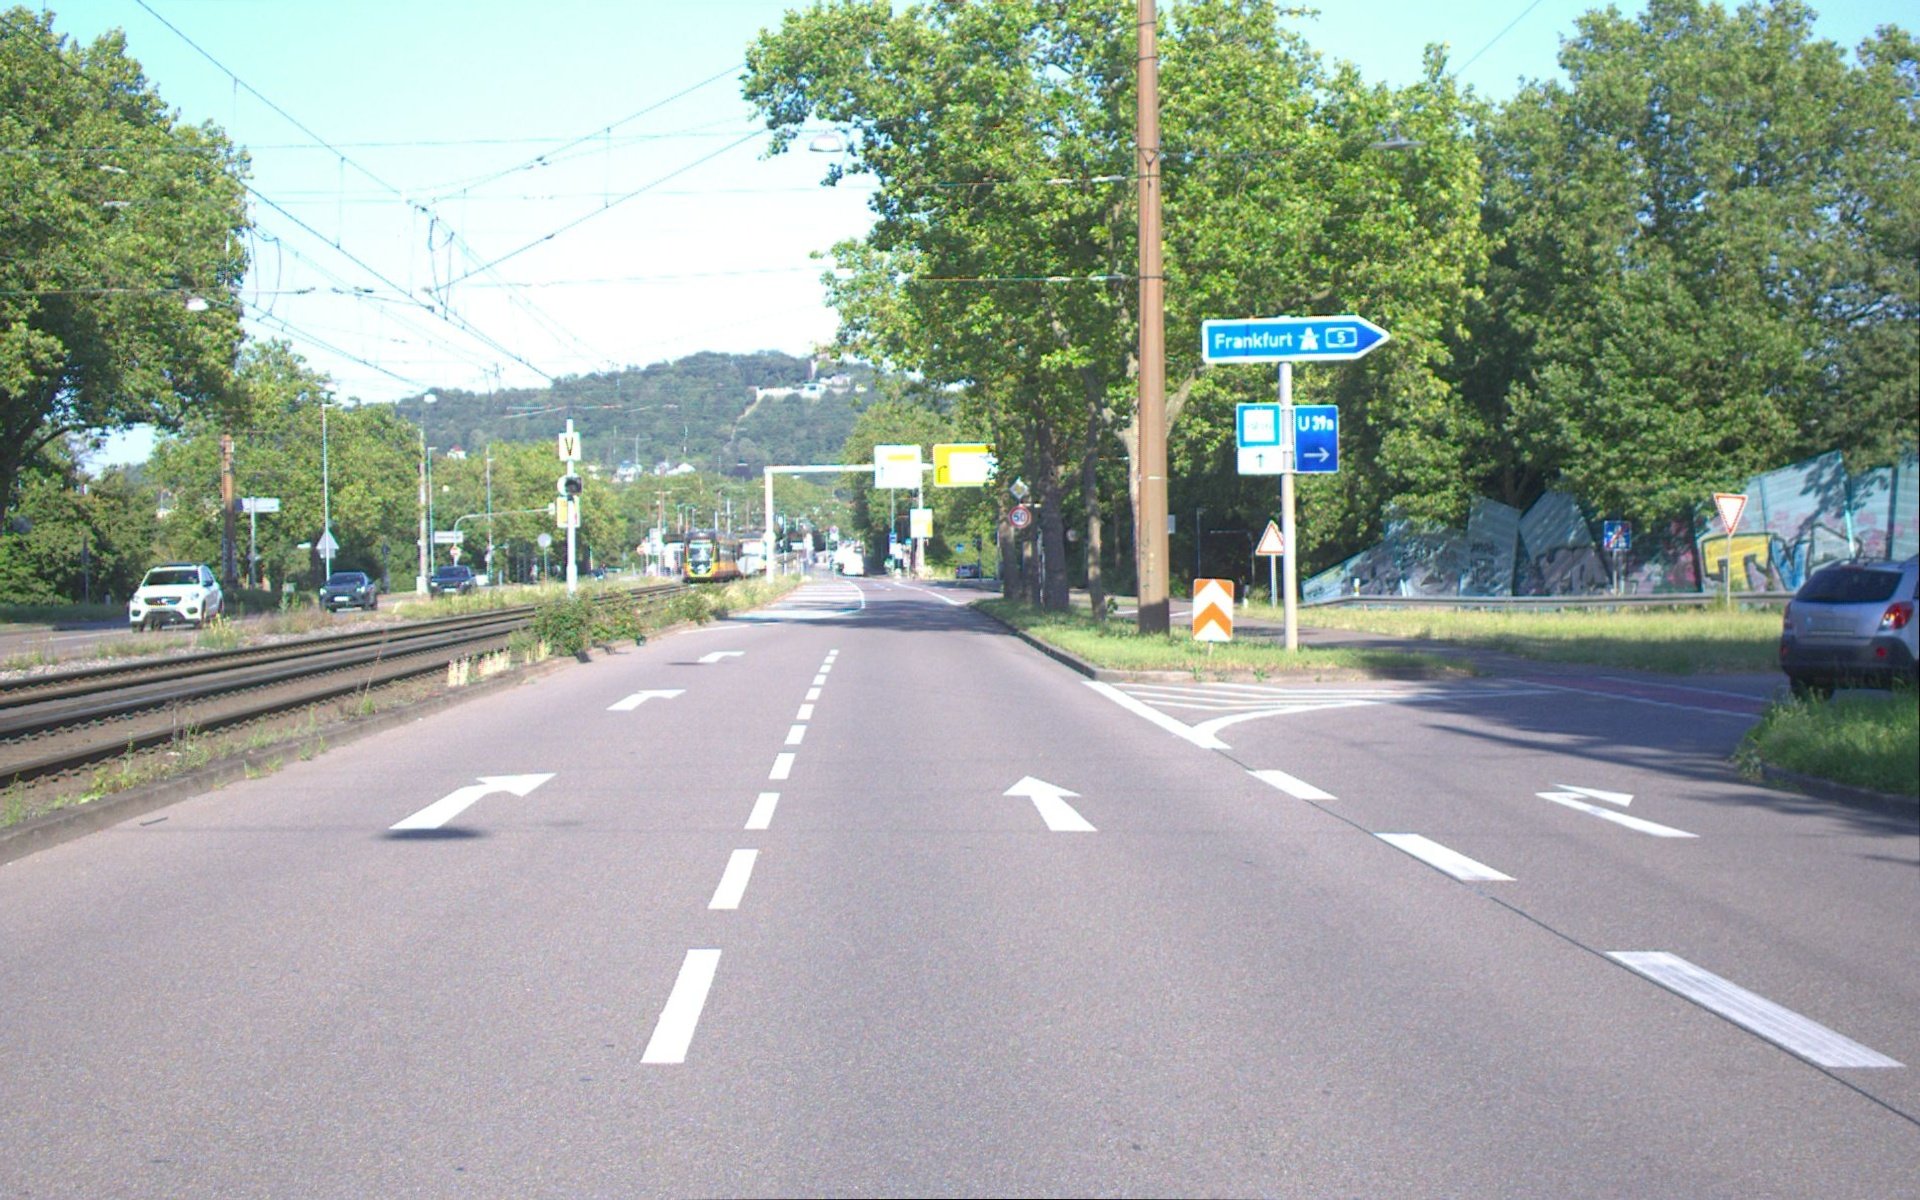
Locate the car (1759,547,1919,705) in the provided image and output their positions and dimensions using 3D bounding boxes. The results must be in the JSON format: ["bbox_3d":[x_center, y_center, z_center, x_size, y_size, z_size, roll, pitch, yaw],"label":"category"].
[{"bbox_3d":[11.272,0.280,40.333,3.851,1.767,1.814,0,1,-42],"label":"car"}]

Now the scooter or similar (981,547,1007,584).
[{"bbox_3d":[2.493,-2.537,250.813,1.681,2.706,4.869,0,1,-2],"label":"scooter or similar"}]

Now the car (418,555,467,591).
[{"bbox_3d":[-25.216,-1.328,167.655,1.898,1.688,4.942,-2,1,-4],"label":"car"}]

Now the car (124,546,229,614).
[{"bbox_3d":[-21.269,-0.551,93.457,1.962,1.701,4.945,-3,1,-4],"label":"car"}]

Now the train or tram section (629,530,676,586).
[{"bbox_3d":[-22.042,-2.980,247.107,2.804,3.889,12.333,0,1,-3],"label":"train or tram section"}]

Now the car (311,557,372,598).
[{"bbox_3d":[-23.500,-0.865,130.822,1.710,1.463,4.348,-3,1,-3],"label":"car"}]
